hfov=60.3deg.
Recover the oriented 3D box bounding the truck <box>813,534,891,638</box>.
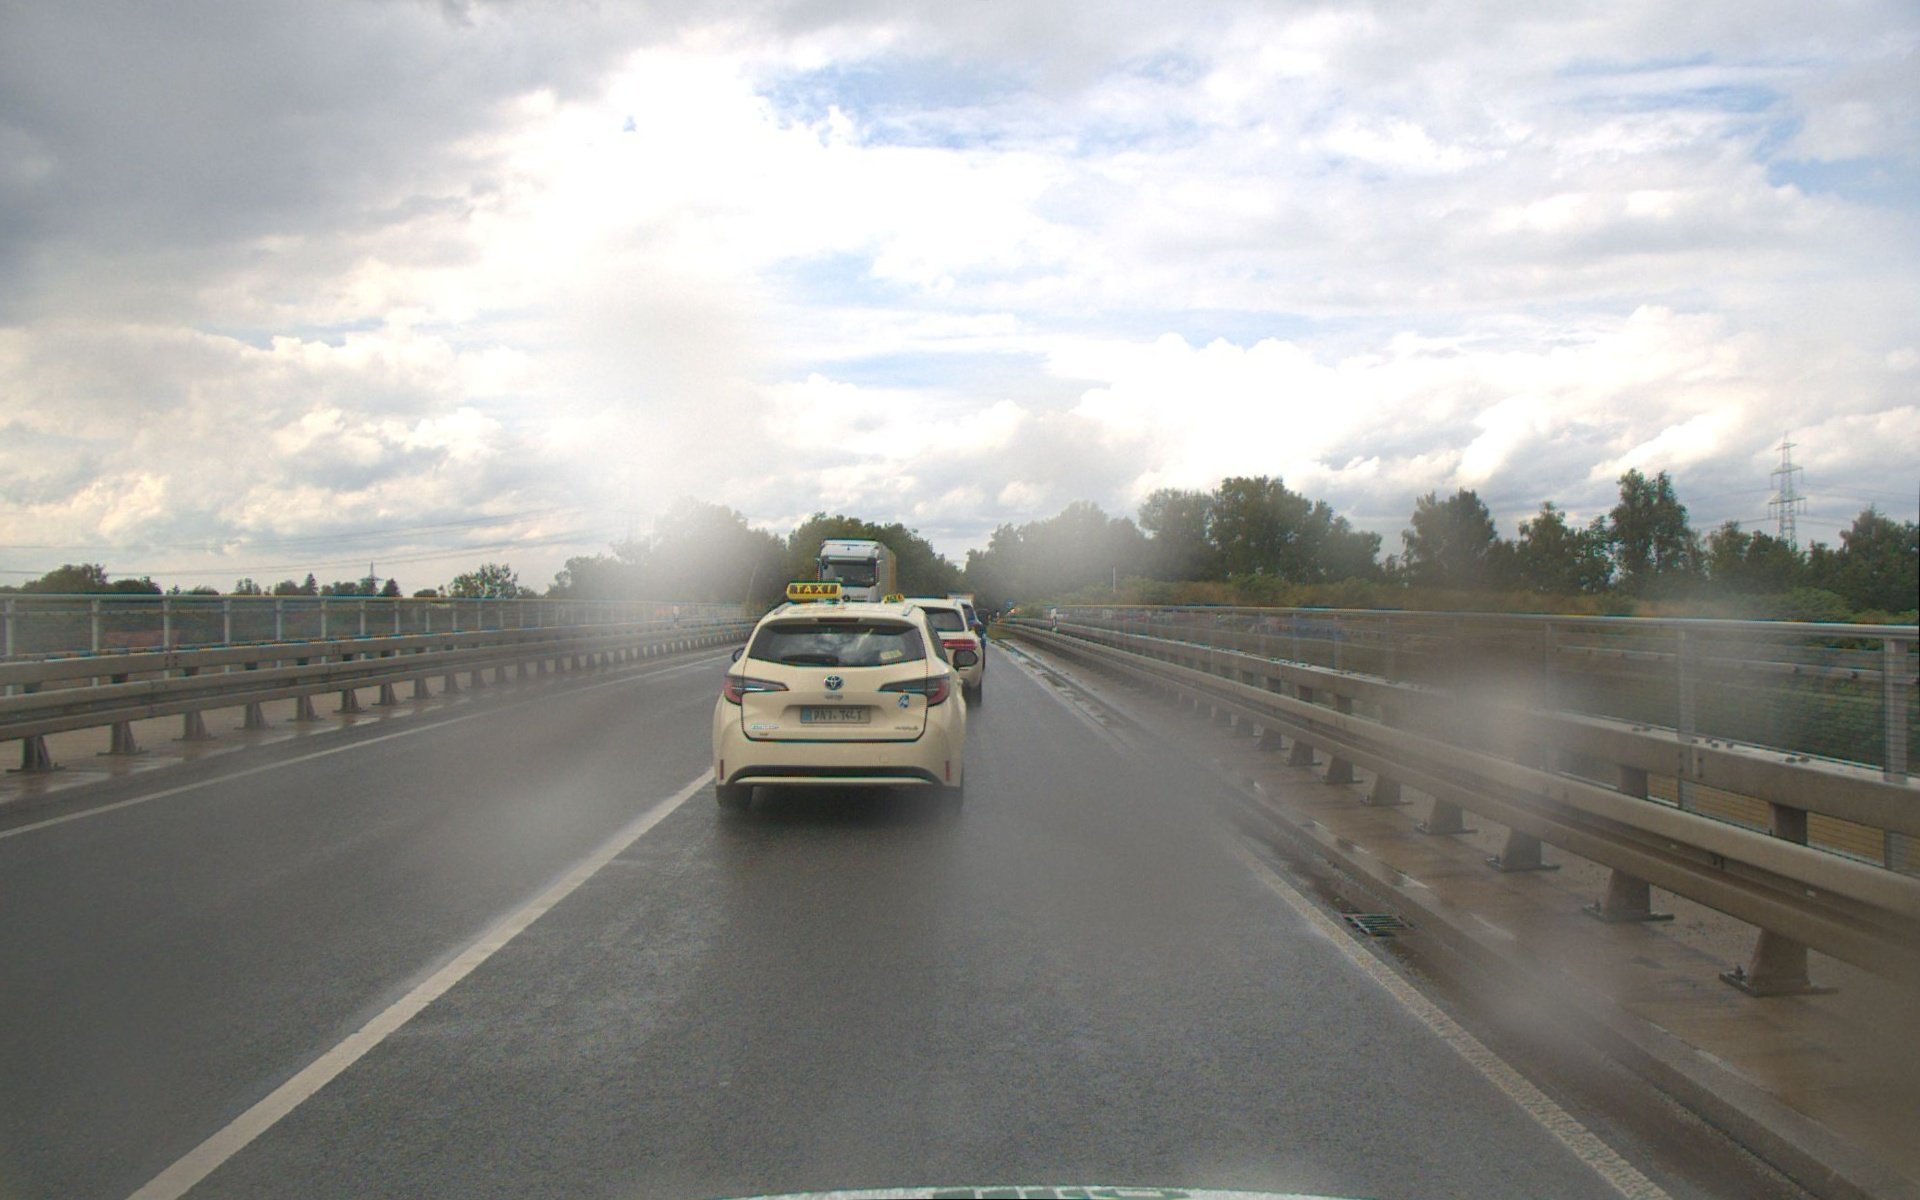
[{"bbox_3d":[-4.504,-0.564,70.807,2.628,4.087,10.054,1,0,0],"label":"truck"}]

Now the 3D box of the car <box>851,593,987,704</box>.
[{"bbox_3d":[-0.570,0.649,24.493,1.816,1.468,4.170,1,0,-1],"label":"car"}]

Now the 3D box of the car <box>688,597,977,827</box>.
[{"bbox_3d":[-0.830,0.713,12.648,1.816,1.418,4.170,1,0,-1],"label":"car"}]

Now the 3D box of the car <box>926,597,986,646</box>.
[{"bbox_3d":[-0.138,0.649,53.199,1.816,1.468,4.170,1,0,-1],"label":"car"}]

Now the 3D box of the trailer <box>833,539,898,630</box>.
[{"bbox_3d":[-4.507,-0.740,80.052,2.628,4.146,8.484,1,0,0],"label":"trailer"}]

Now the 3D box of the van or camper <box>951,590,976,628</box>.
[{"bbox_3d":[0.326,0.905,162.034,2.285,3.625,6.305,1,0,0],"label":"van or camper"}]

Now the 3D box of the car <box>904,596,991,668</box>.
[{"bbox_3d":[-0.275,0.681,37.083,1.816,1.468,4.170,1,0,-1],"label":"car"}]

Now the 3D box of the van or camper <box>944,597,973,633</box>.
[{"bbox_3d":[-0.135,1.243,139.320,2.285,2.914,6.305,1,0,0],"label":"van or camper"}]

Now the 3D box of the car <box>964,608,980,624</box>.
[{"bbox_3d":[1.596,2.072,214.830,1.953,2.049,3.999,1,0,-1],"label":"car"}]

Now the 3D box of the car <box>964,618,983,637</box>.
[{"bbox_3d":[1.486,3.064,185.669,1.953,2.049,3.999,1,0,-1],"label":"car"}]
